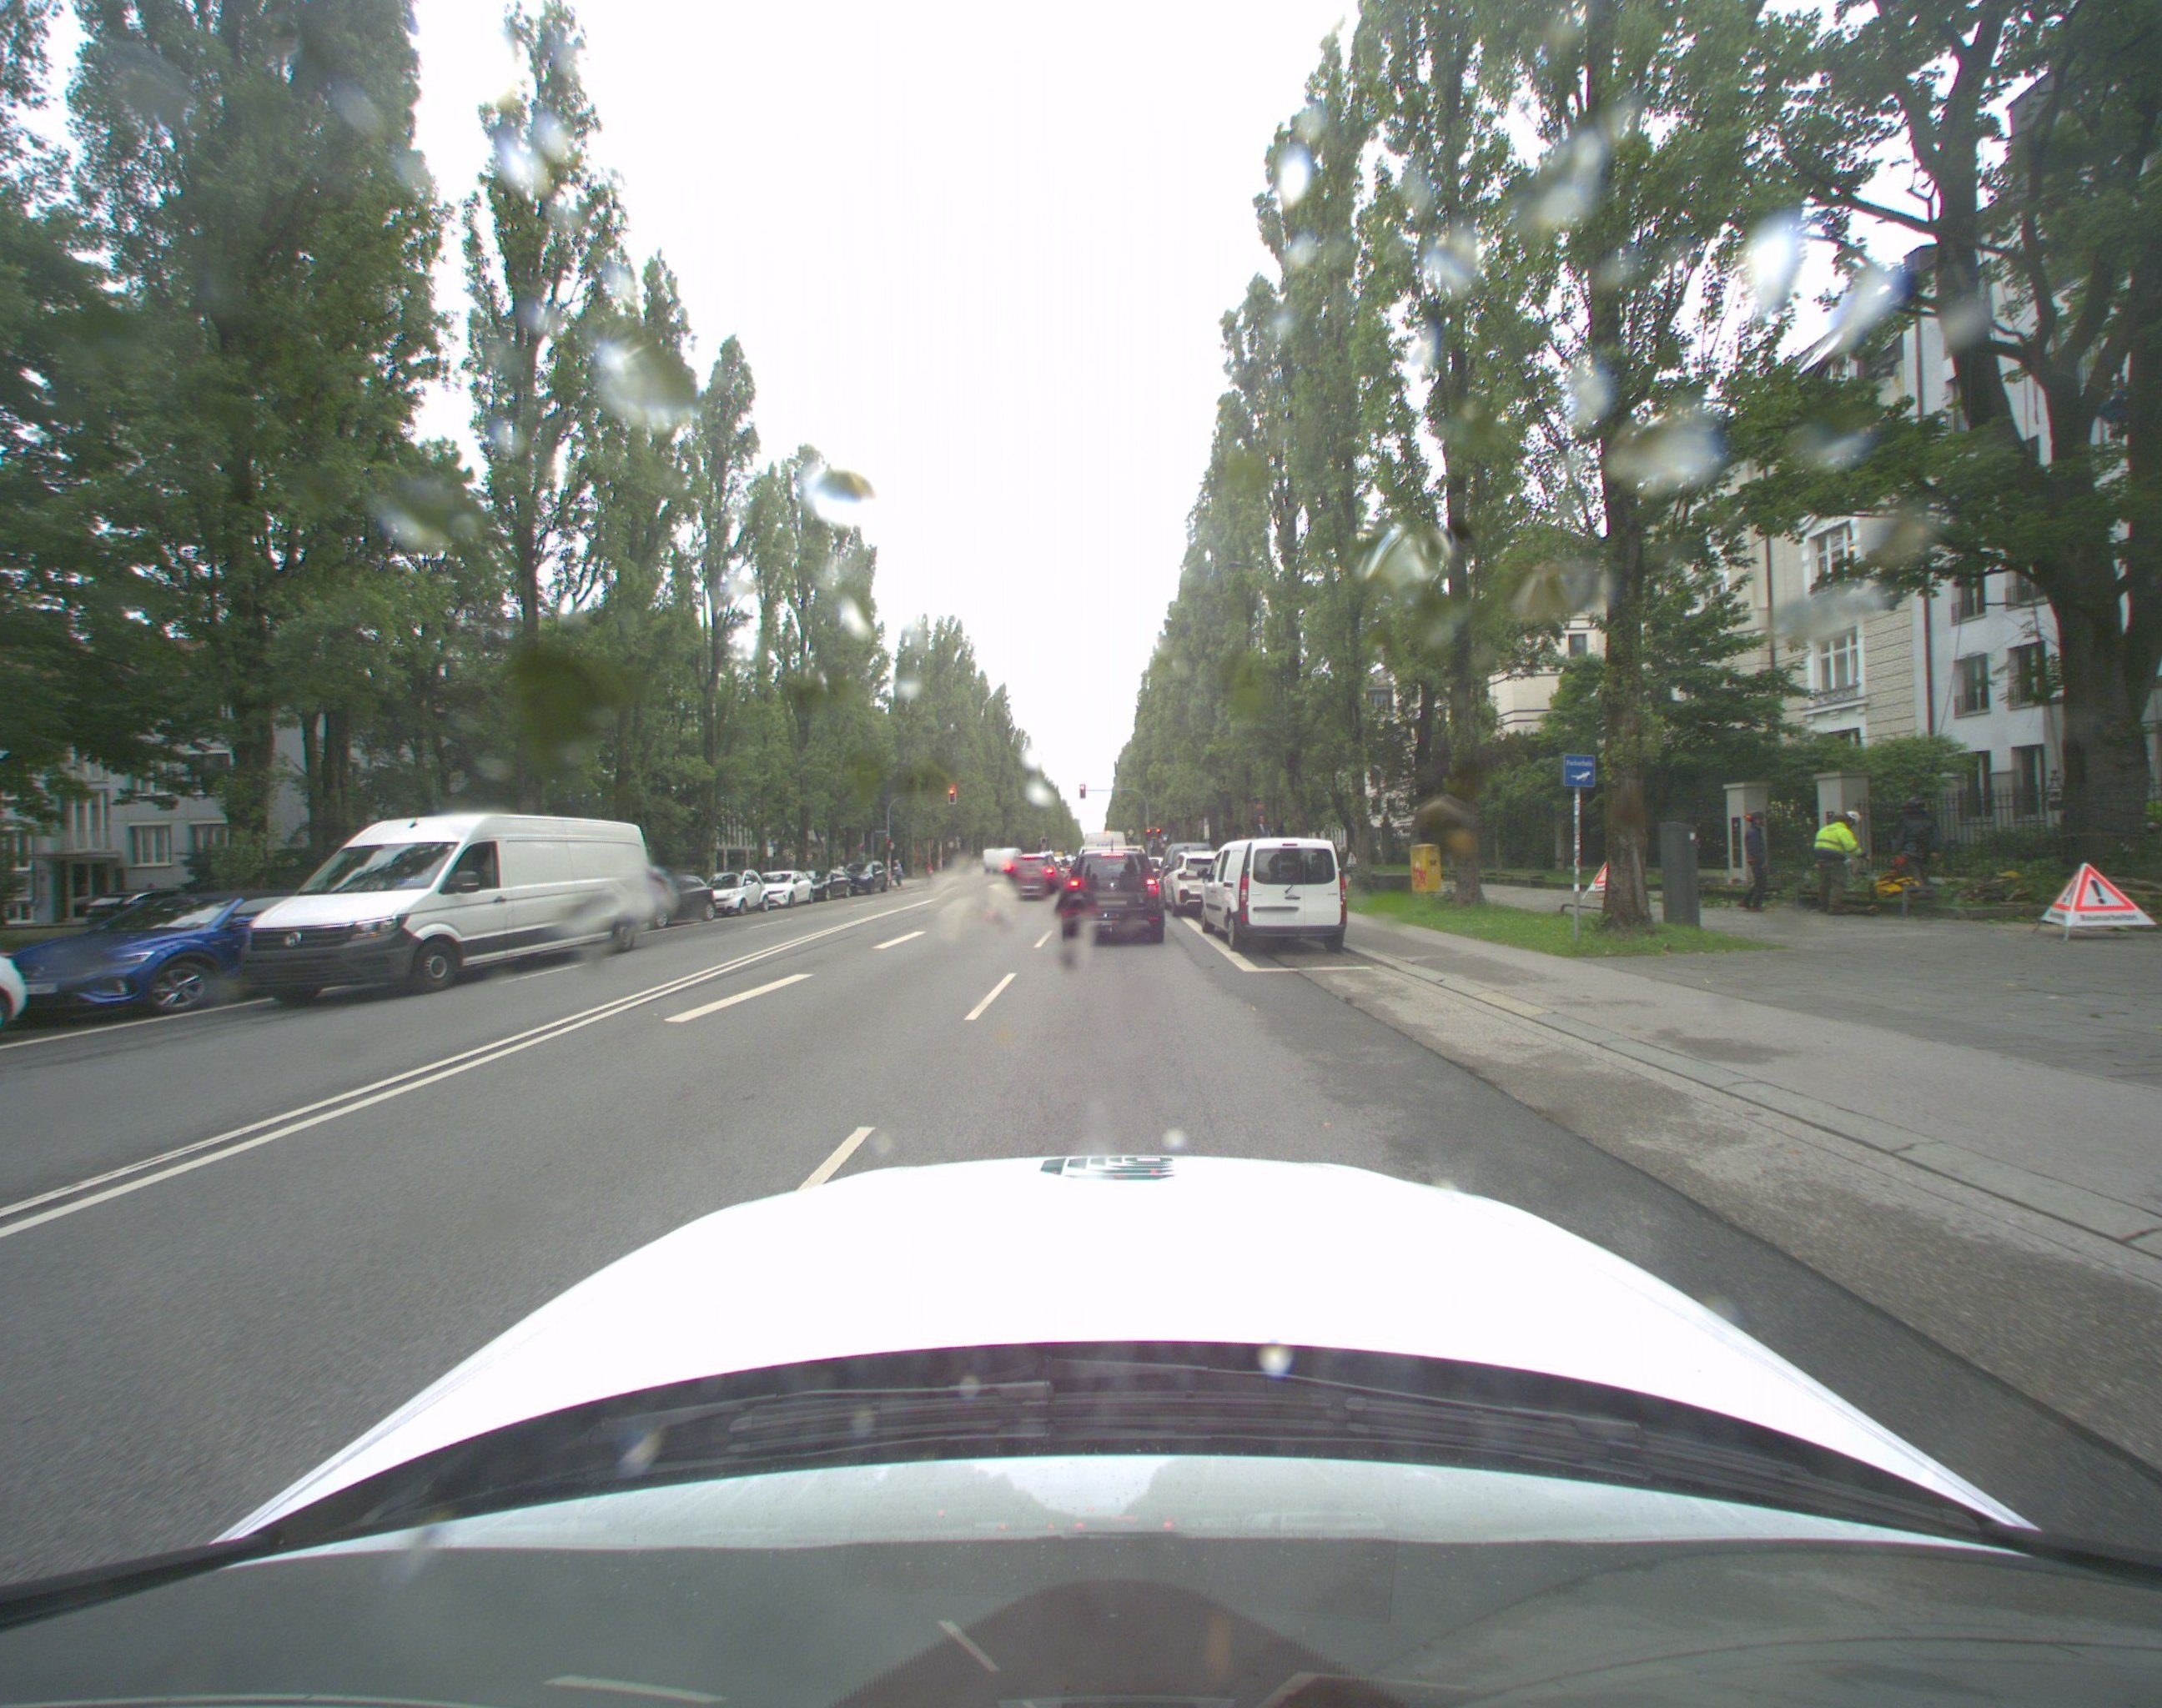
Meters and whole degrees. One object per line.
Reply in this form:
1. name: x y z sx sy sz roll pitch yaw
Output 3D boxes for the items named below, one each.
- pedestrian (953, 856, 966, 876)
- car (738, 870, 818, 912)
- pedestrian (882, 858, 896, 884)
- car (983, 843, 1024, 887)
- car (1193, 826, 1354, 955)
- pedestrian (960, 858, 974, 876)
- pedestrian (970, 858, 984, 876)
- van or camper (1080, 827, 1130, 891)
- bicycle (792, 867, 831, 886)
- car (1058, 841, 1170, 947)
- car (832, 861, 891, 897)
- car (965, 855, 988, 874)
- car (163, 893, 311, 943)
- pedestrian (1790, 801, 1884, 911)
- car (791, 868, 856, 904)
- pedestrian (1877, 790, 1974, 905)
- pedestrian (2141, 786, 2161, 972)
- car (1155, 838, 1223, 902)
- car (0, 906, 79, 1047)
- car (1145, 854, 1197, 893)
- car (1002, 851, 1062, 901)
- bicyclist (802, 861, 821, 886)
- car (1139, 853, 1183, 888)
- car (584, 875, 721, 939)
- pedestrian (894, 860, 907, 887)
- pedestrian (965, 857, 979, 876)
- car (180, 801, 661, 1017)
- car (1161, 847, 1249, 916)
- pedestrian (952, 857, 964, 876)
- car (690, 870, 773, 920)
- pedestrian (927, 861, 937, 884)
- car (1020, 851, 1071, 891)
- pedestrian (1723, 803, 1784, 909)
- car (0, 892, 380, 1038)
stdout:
1. pedestrian: -11.175 1.124 74.905 0.874 1.764 0.881 -2 0 11
2. car: -11.891 1.411 32.243 1.619 1.389 4.163 -4 0 -2
3. pedestrian: -11.800 1.043 49.962 0.658 1.577 0.530 -2 0 2
4. car: -3.937 0.529 41.985 1.776 2.111 4.022 -2 0 -2
5. car: 3.172 0.537 14.304 1.845 1.881 4.169 -2 0 1
6. pedestrian: -10.355 1.180 73.975 0.887 1.655 0.868 -2 0 -36
7. pedestrian: -9.557 1.172 74.744 0.887 1.655 0.868 -2 0 -36
8. van or camper: 0.967 0.193 35.448 1.969 2.548 4.024 -2 0 0
9. bicycle: -19.155 1.627 57.904 2.519 1.237 0.815 -2 0 11
10. car: 0.610 0.660 15.504 1.849 1.770 4.001 0 0 2
11. car: -11.664 1.306 43.621 1.844 1.654 4.693 -4 0 -1
12. car: -10.658 1.070 83.165 1.682 1.783 3.776 -2 0 1
13. car: -35.664 2.650 34.592 1.986 1.772 4.002 -2 0 2
14. pedestrian: 12.836 0.033 13.847 0.801 1.782 0.816 -2 0 -16
15. car: -11.858 1.432 37.759 1.619 1.389 4.165 -4 0 -1
16. pedestrian: 13.985 -0.123 13.494 0.905 1.800 0.825 -3 2 -20
17. pedestrian: 10.371 0.206 7.170 0.850 1.717 0.867 -3 0 1
18. car: 3.441 0.478 26.670 1.729 1.895 4.026 -2 0 1
19. car: -12.439 1.394 7.220 1.765 1.452 4.233 -4 0 0
20. car: 3.553 0.750 32.745 1.729 1.387 3.563 -2 0 1
21. car: -1.731 0.746 29.952 1.775 1.620 4.026 -2 0 1
22. bicyclist: -19.162 1.374 57.915 0.900 1.722 0.827 -2 0 11
23. car: 3.674 0.723 38.048 1.729 1.475 3.563 -2 0 1
24. car: -12.016 1.434 23.158 1.594 1.425 3.854 -5 0 3
25. pedestrian: -10.653 1.147 48.152 0.526 1.577 0.663 -2 0 2
26. pedestrian: -9.819 1.164 73.243 0.887 1.655 0.868 -2 0 -36
27. car: -9.776 0.659 13.294 2.221 2.483 6.756 -4 0 0
28. car: 3.138 0.638 21.399 1.734 1.593 4.213 -2 0 1
29. pedestrian: -11.471 1.151 75.963 0.874 1.764 0.881 -2 0 11
30. car: -11.921 1.357 27.974 1.422 1.447 2.966 -5 0 1
31. pedestrian: -9.739 1.212 53.179 0.515 1.485 0.537 -2 0 2
32. car: -1.515 0.700 36.243 1.987 1.560 4.000 -2 0 0
33. pedestrian: 12.263 0.036 14.859 0.487 1.862 0.635 -2 0 -16
34. car: -12.259 1.402 11.396 1.704 1.451 3.585 -4 0 0
